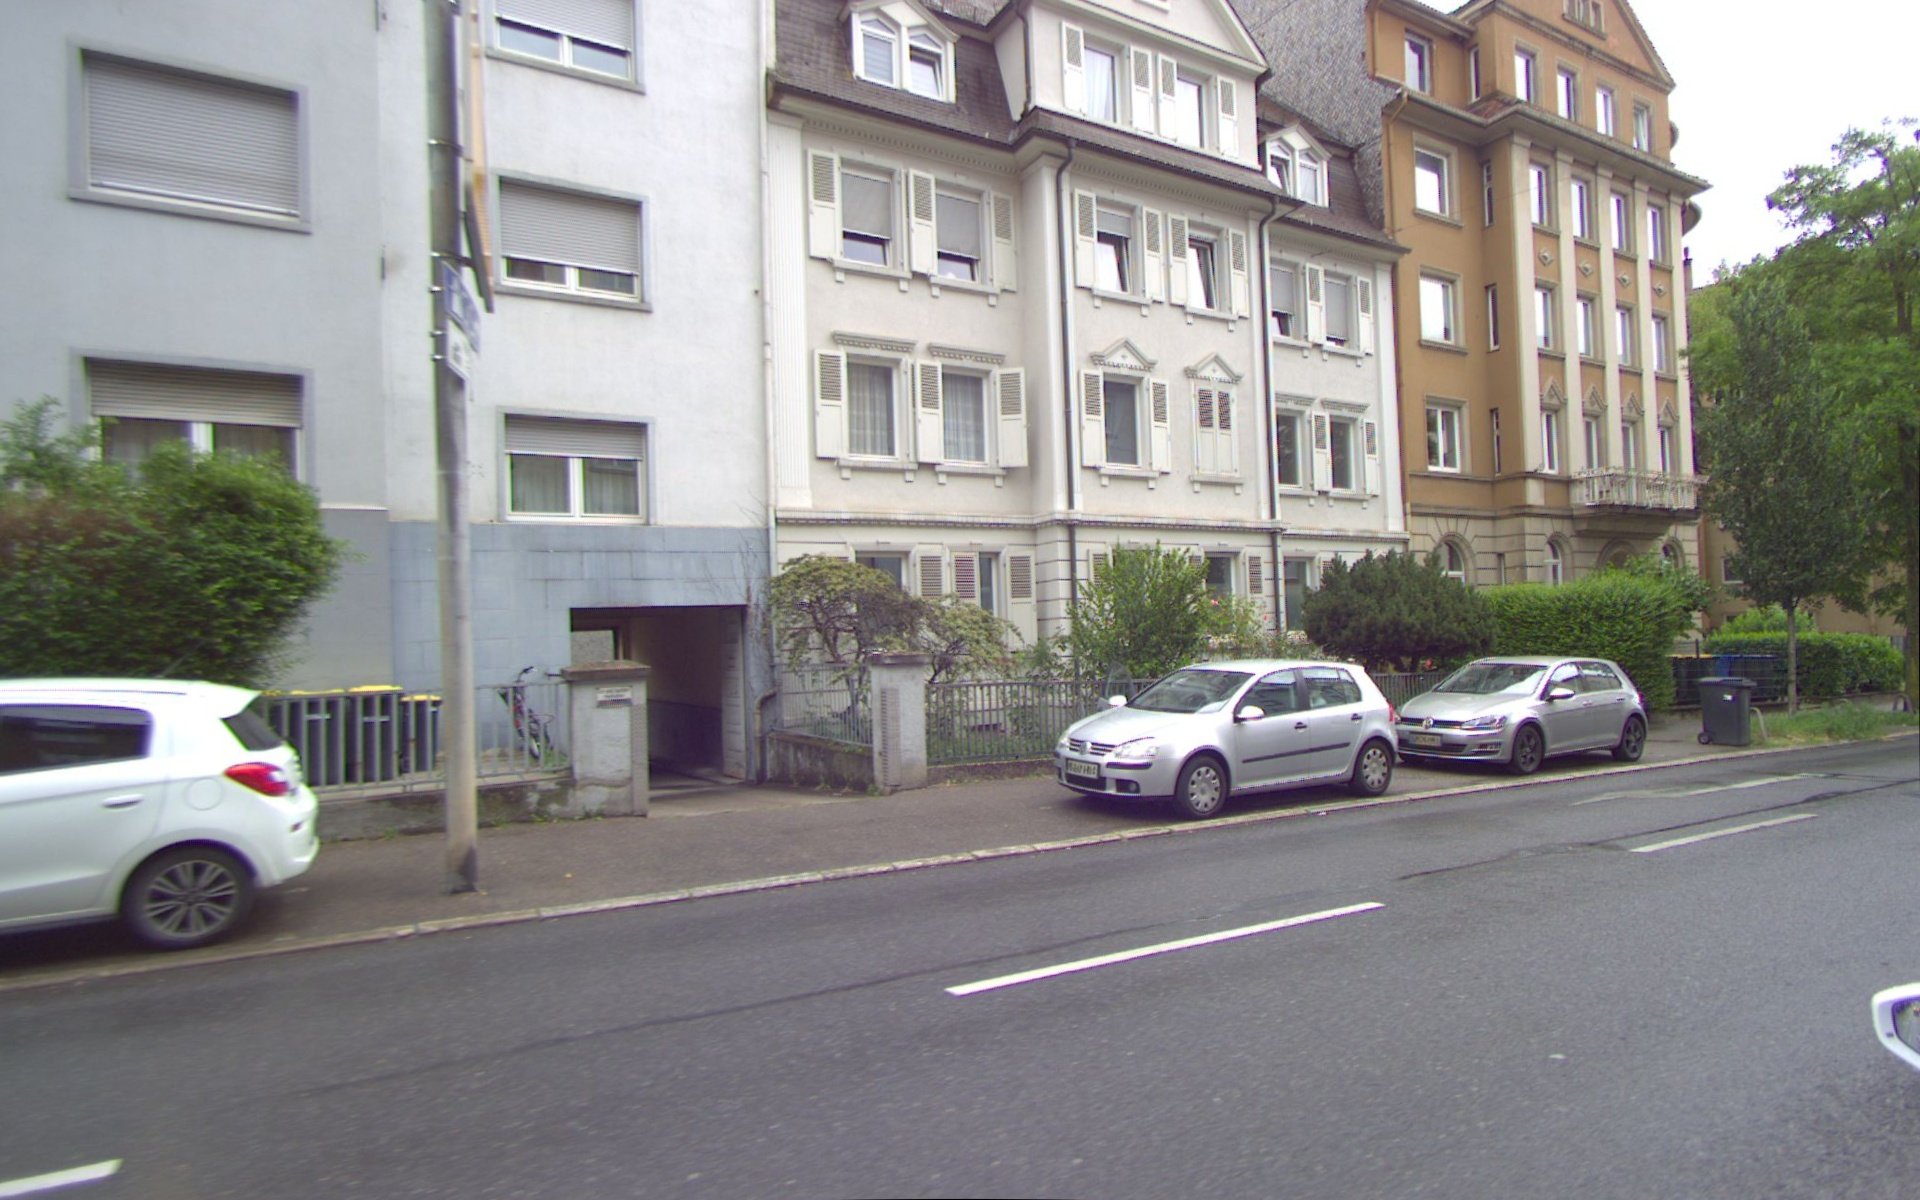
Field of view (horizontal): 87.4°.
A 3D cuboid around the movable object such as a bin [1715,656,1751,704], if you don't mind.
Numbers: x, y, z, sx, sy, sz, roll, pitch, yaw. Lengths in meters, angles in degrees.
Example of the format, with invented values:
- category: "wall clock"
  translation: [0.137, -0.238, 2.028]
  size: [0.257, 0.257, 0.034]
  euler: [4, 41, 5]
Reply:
- category: "movable object such as a bin"
  translation: [17.446, 1.788, 22.667]
  size: [0.643, 1.054, 0.424]
  euler: [1, -3, -31]

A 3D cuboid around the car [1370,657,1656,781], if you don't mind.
- category: "car"
  translation: [7.585, 1.514, 13.718]
  size: [3.889, 1.408, 1.675]
  euler: [1, -2, -30]

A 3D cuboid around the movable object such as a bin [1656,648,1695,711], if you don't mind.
- category: "movable object such as a bin"
  translation: [15.138, 1.672, 21.252]
  size: [0.642, 1.316, 0.437]
  euler: [1, -3, -31]

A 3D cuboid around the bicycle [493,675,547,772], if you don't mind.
- category: "bicycle"
  translation: [-5.552, 1.520, 12.649]
  size: [0.478, 1.104, 1.415]
  euler: [1, -3, -29]

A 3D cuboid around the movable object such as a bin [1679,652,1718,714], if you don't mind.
- category: "movable object such as a bin"
  translation: [16.061, 1.794, 21.846]
  size: [0.642, 1.326, 0.437]
  euler: [1, -3, -31]

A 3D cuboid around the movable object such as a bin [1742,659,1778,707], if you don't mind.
- category: "movable object such as a bin"
  translation: [18.622, 1.921, 23.384]
  size: [0.583, 1.095, 0.437]
  euler: [1, -3, -31]

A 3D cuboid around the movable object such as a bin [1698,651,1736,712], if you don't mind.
- category: "movable object such as a bin"
  translation: [16.808, 1.796, 22.298]
  size: [0.602, 1.326, 0.437]
  euler: [1, -3, -31]

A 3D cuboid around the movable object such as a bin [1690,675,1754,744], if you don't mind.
- category: "movable object such as a bin"
  translation: [12.250, 1.747, 16.150]
  size: [0.593, 1.072, 0.627]
  euler: [2, -3, -30]

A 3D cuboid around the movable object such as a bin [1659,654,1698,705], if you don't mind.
- category: "movable object such as a bin"
  translation: [15.310, 1.677, 21.401]
  size: [0.642, 1.053, 0.437]
  euler: [1, -3, -31]

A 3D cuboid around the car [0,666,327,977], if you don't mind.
- category: "car"
  translation: [-5.772, 1.186, 5.594]
  size: [3.754, 1.528, 1.637]
  euler: [1, -2, -32]

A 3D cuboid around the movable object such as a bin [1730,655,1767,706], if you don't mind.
- category: "movable object such as a bin"
  translation: [18.059, 1.839, 22.998]
  size: [0.650, 1.145, 0.437]
  euler: [1, -3, -31]

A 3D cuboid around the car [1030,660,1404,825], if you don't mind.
- category: "car"
  translation: [2.809, 1.395, 10.802]
  size: [3.863, 1.408, 1.675]
  euler: [1, -2, -30]

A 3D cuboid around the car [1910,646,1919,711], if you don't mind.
- category: "car"
  translation: [24.059, 1.817, 23.575]
  size: [3.899, 1.473, 1.645]
  euler: [1, -3, -32]

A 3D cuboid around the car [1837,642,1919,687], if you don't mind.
- category: "car"
  translation: [31.069, 2.063, 32.404]
  size: [1.720, 1.408, 3.802]
  euler: [-1, -2, -27]
